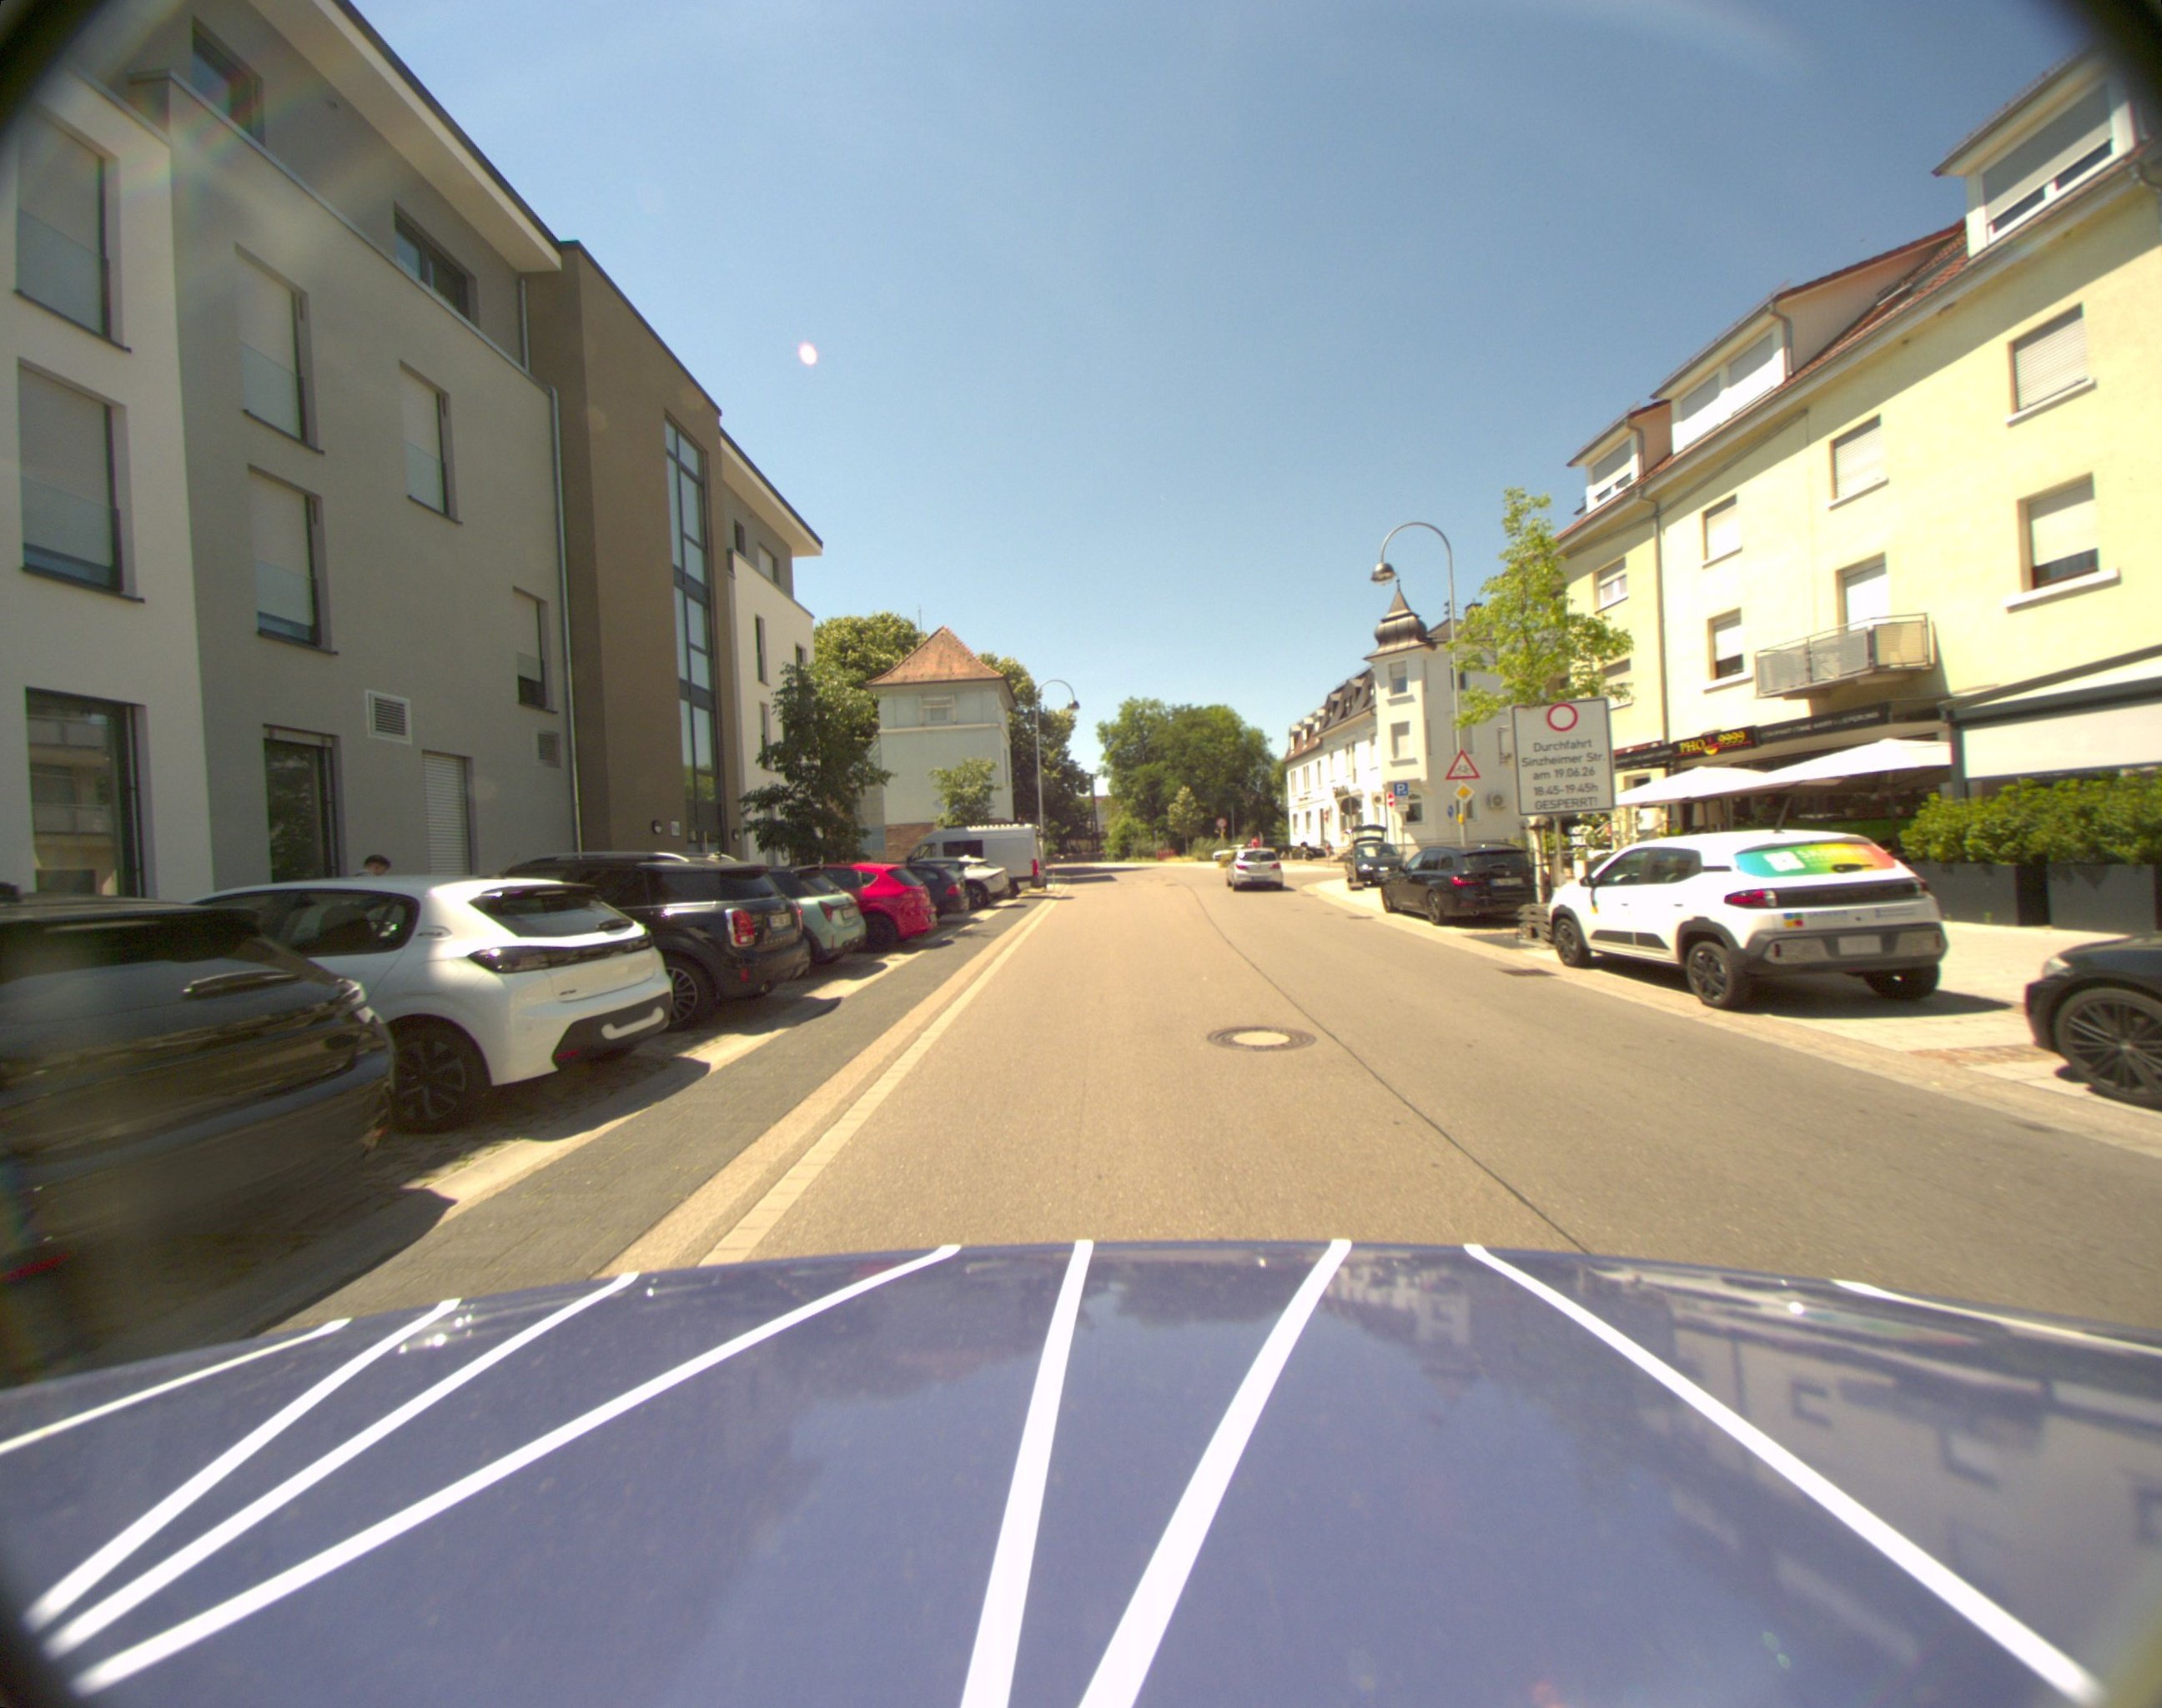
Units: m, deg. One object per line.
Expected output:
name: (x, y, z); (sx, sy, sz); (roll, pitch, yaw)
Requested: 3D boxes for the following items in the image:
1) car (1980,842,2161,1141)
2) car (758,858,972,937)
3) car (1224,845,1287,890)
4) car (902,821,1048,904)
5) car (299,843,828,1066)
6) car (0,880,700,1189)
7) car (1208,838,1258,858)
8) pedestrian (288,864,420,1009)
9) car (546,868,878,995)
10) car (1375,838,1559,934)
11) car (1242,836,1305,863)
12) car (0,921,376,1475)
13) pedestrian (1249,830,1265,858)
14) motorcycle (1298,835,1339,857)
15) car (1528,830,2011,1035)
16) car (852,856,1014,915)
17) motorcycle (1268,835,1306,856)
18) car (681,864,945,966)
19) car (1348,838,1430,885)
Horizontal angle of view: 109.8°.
car: (6.137, 0.665, 2.272); (1.758, 1.437, 4.450); (-5, 0, 4)
car: (-4.794, 0.942, 17.334); (4.359, 1.542, 1.652); (-2, 0, -2)
car: (6.278, 0.449, 27.776); (1.684, 1.475, 4.087); (-1, 0, 5)
car: (-3.724, 0.296, 27.387); (4.867, 2.720, 1.851); (-2, 1, 2)
car: (-4.722, 0.856, 7.423); (3.818, 1.776, 1.840); (-2, 0, -1)
car: (-4.852, 1.006, 4.917); (3.818, 1.474, 1.778); (-2, 0, -1)
car: (12.823, -0.478, 64.143); (3.946, 1.527, 1.831); (-2, 0, -33)
pedestrian: (-9.049, 0.988, 9.502); (0.576, 1.674, 1.007); (-3, 1, 2)
car: (-4.771, 0.973, 10.189); (3.617, 1.454, 1.617); (-1, 0, 0)
car: (7.222, 0.523, 14.753); (1.684, 1.475, 4.341); (-4, 0, 6)
car: (13.628, -0.342, 53.956); (4.077, 1.729, 1.815); (-2, 0, 6)
car: (-4.816, 1.023, 2.477); (3.665, 1.437, 1.535); (-1, 1, 3)
pedestrian: (11.507, -0.643, 49.691); (0.758, 1.755, 0.802); (-2, 1, -9)
motorcycle: (15.087, -0.486, 48.332); (2.322, 1.317, 0.726); (-2, 1, 4)
car: (6.353, 0.598, 7.698); (1.684, 1.475, 3.770); (-4, 0, 6)
car: (-4.305, 0.892, 22.526); (4.381, 1.520, 1.719); (-2, 0, 1)
motorcycle: (13.938, -0.547, 51.474); (2.322, 1.317, 0.726); (-2, 1, 4)
car: (-4.383, 0.975, 12.840); (3.818, 1.454, 1.652); (-2, 0, 0)
car: (10.328, 0.244, 25.755); (1.900, 1.433, 3.779); (-2, 0, 12)
